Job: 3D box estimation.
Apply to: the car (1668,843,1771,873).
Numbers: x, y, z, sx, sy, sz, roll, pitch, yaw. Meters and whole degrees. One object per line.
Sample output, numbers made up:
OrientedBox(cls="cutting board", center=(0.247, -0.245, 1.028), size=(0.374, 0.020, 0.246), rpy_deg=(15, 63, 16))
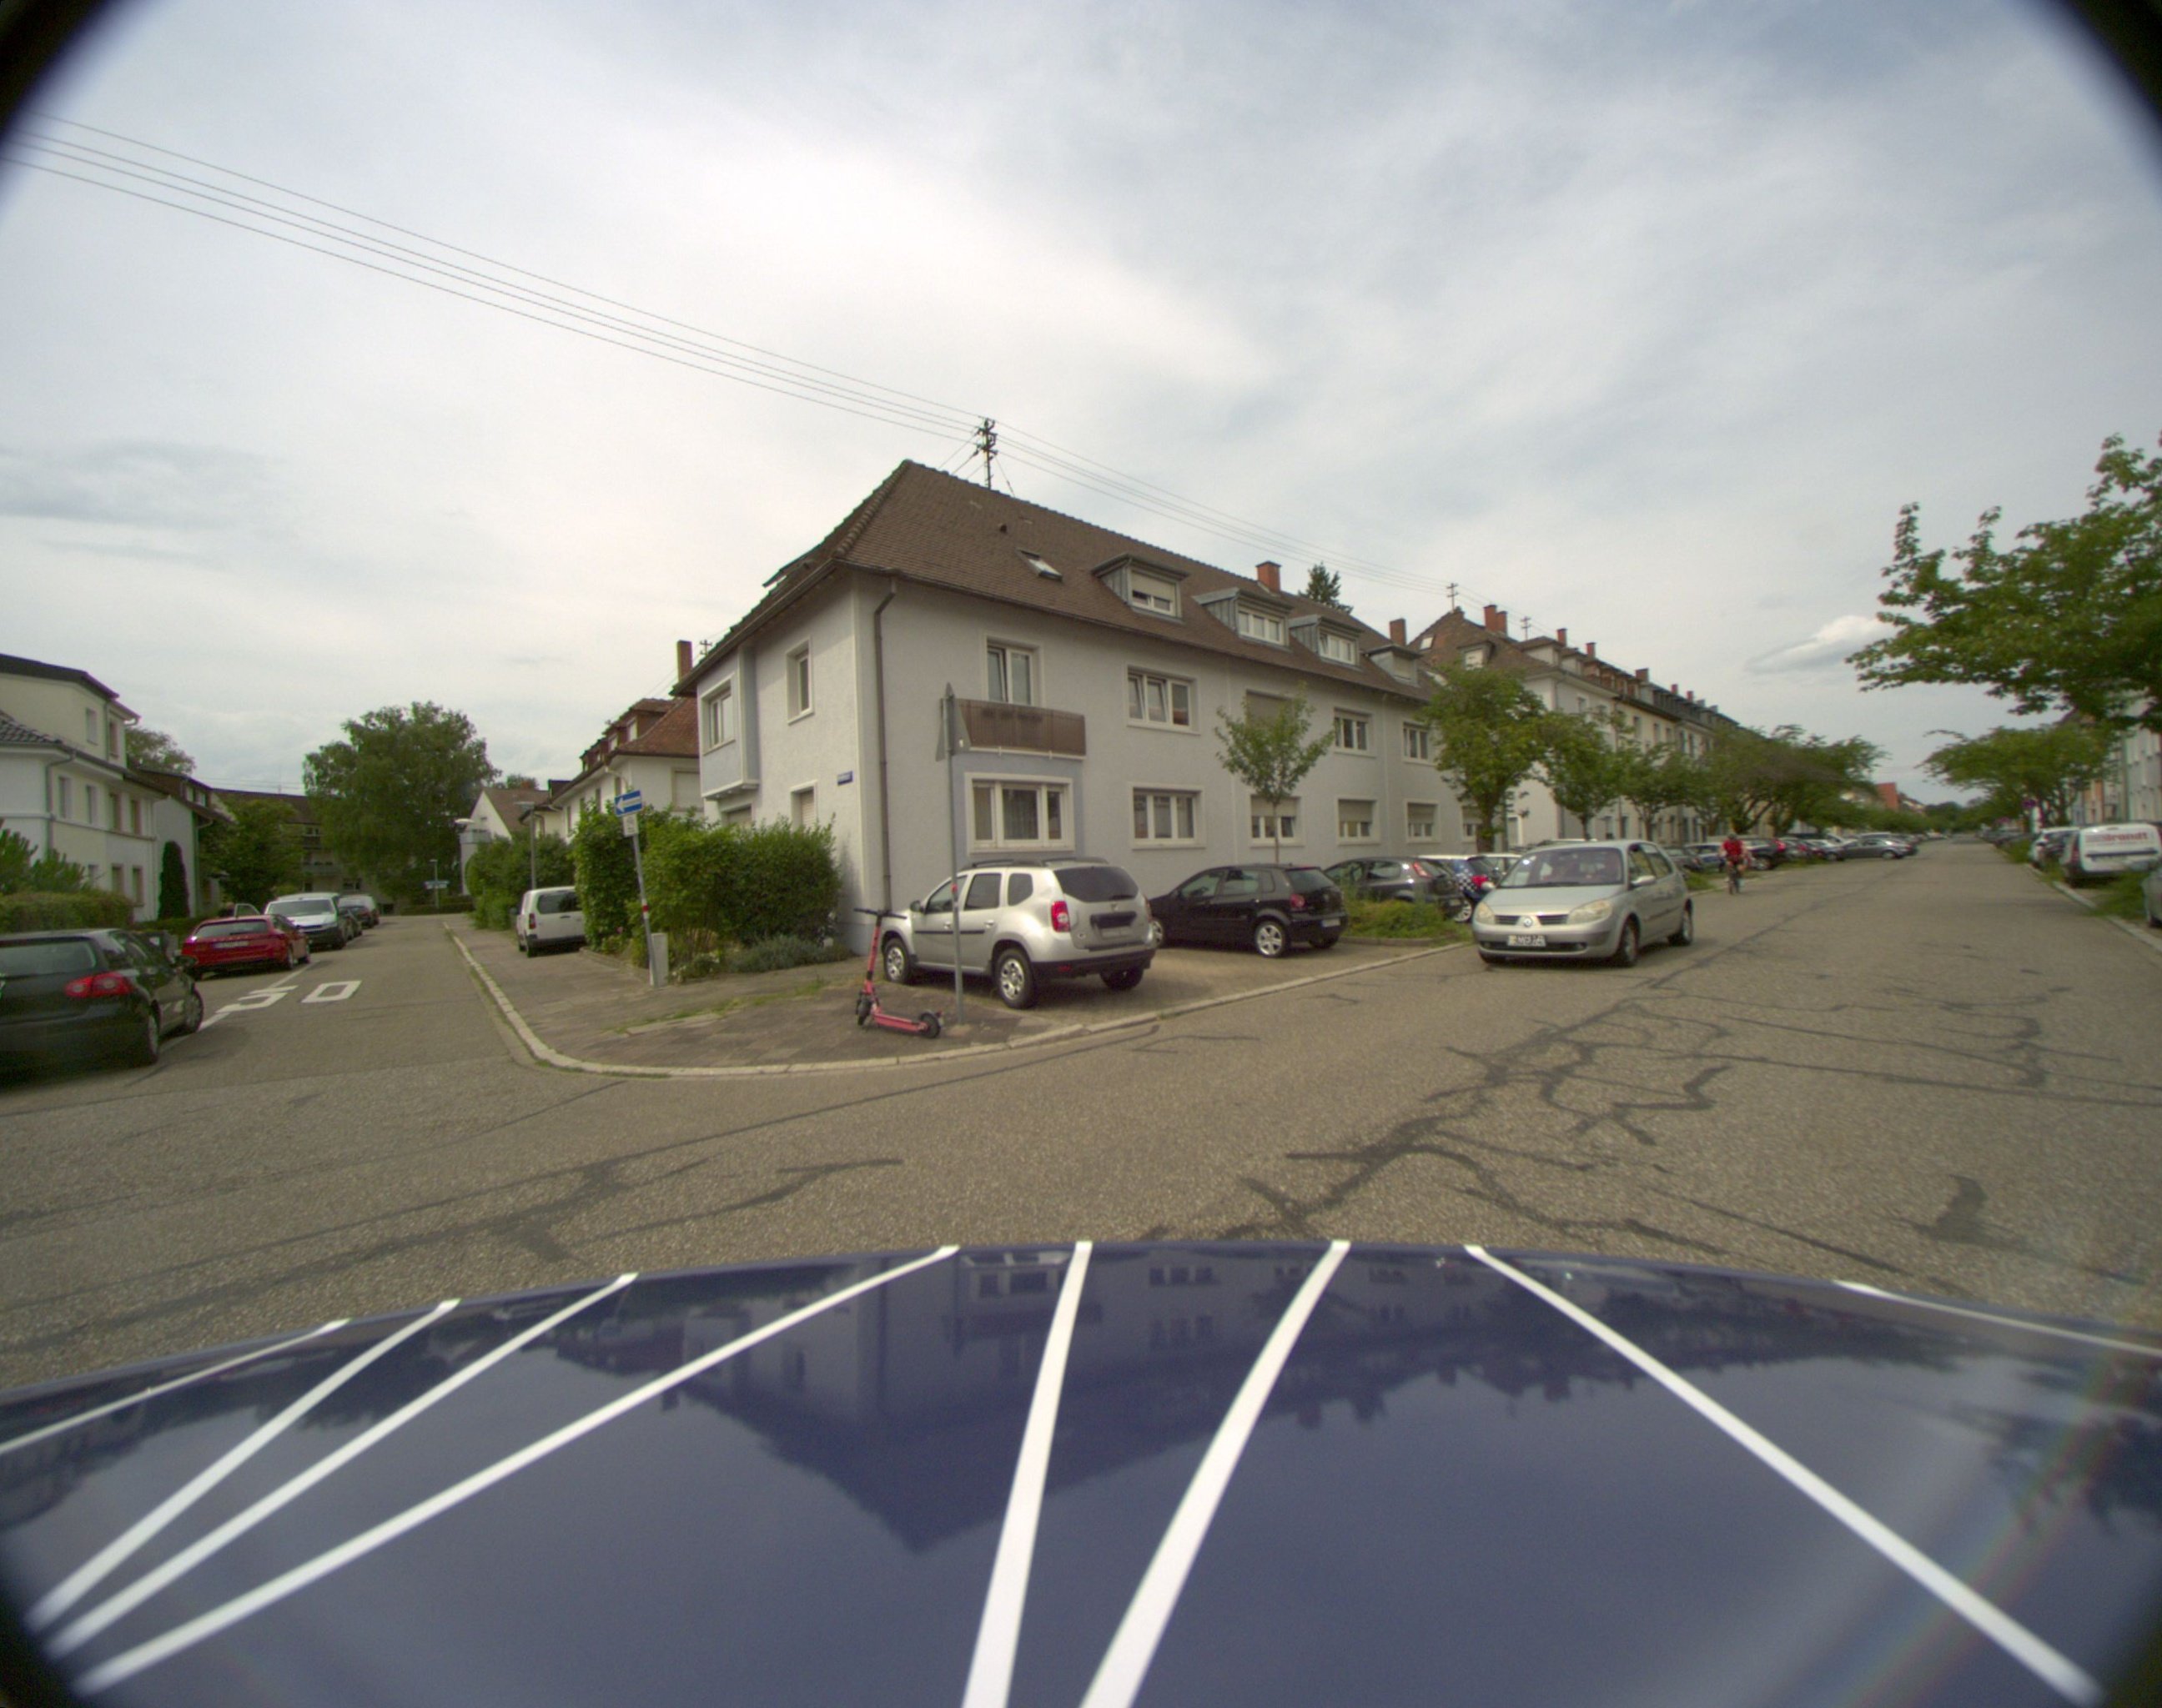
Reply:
OrientedBox(cls="car", center=(32.255, 0.176, 38.448), size=(1.868, 1.433, 3.749), rpy_deg=(-2, 1, -40))

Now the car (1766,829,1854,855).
OrientedBox(cls="car", center=(61.130, -0.993, 63.773), size=(2.077, 2.012, 5.231), rpy_deg=(-2, 2, -45))

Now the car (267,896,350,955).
OrientedBox(cls="car", center=(-27.228, 2.453, 26.892), size=(1.810, 1.784, 3.804), rpy_deg=(-2, 0, -43))

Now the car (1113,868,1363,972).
OrientedBox(cls="car", center=(2.563, 0.997, 13.151), size=(1.715, 1.413, 3.989), rpy_deg=(-2, 1, -41))

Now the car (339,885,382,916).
OrientedBox(cls="car", center=(-47.303, 3.017, 49.877), size=(1.915, 1.723, 3.757), rpy_deg=(-2, 2, -44))

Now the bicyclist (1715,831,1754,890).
OrientedBox(cls="bicyclist", center=(20.008, 0.198, 23.249), size=(0.988, 1.759, 0.692), rpy_deg=(-2, -1, -41))

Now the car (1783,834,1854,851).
OrientedBox(cls="car", center=(67.467, -1.043, 69.559), size=(1.854, 1.501, 4.549), rpy_deg=(-2, 1, -43))

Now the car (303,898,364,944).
OrientedBox(cls="car", center=(-33.226, 2.918, 33.869), size=(1.759, 1.815, 4.284), rpy_deg=(-2, 0, -43))

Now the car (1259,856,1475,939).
OrientedBox(cls="car", center=(5.979, 0.809, 16.233), size=(1.715, 1.499, 3.989), rpy_deg=(-2, 1, -41))

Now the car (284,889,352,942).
OrientedBox(cls="car", center=(-30.147, 2.363, 30.100), size=(1.667, 1.892, 3.804), rpy_deg=(-2, 0, -43))

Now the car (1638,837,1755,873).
OrientedBox(cls="car", center=(28.091, 0.052, 34.756), size=(1.771, 1.521, 3.988), rpy_deg=(-2, 1, -44))

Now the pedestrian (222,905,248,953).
OrientedBox(cls="pedestrian", center=(-31.143, 2.763, 27.967), size=(0.613, 1.708, 0.561), rpy_deg=(-3, 0, 38))

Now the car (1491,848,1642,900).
OrientedBox(cls="car", center=(14.918, 0.580, 23.464), size=(1.776, 1.446, 3.626), rpy_deg=(-2, 1, -45))

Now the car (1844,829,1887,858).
OrientedBox(cls="car", center=(57.610, -0.807, 55.788), size=(4.713, 1.903, 1.995), rpy_deg=(-2, -2, -43))

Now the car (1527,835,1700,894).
OrientedBox(cls="car", center=(18.099, 0.316, 26.030), size=(1.796, 1.847, 4.527), rpy_deg=(-2, 1, -38))

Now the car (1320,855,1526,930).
OrientedBox(cls="car", center=(7.772, 0.789, 17.548), size=(1.715, 1.499, 3.989), rpy_deg=(-2, 1, -41))

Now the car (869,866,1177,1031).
OrientedBox(cls="car", center=(-0.909, 1.024, 9.591), size=(1.872, 1.623, 3.926), rpy_deg=(1, -3, -41))

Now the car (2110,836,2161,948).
OrientedBox(cls="car", center=(16.109, 0.402, 10.531), size=(4.283, 1.383, 1.774), rpy_deg=(-2, -6, -40))

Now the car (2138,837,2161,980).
OrientedBox(cls="car", center=(11.460, 0.594, 6.827), size=(4.521, 1.477, 1.878), rpy_deg=(-2, 1, -41))

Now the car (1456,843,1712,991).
OrientedBox(cls="car", center=(7.314, 0.715, 10.808), size=(4.845, 1.595, 1.785), rpy_deg=(-2, -1, -41))

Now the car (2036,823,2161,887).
OrientedBox(cls="car", center=(27.646, -0.030, 20.664), size=(4.390, 1.572, 1.919), rpy_deg=(-2, 1, -40))

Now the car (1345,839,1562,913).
OrientedBox(cls="car", center=(9.408, 0.487, 19.519), size=(1.896, 1.654, 4.617), rpy_deg=(-2, 1, -40))

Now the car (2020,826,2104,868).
OrientedBox(cls="car", center=(38.875, -0.296, 30.193), size=(4.264, 1.547, 1.758), rpy_deg=(-2, 0, -41))

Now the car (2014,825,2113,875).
OrientedBox(cls="car", center=(33.604, -0.173, 26.099), size=(4.821, 1.483, 1.792), rpy_deg=(-3, -1, -41))

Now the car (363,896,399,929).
OrientedBox(cls="car", center=(-42.792, 3.540, 46.481), size=(1.548, 1.652, 3.629), rpy_deg=(-2, 1, -42))

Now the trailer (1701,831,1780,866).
OrientedBox(cls="trailer", center=(35.616, -0.286, 41.075), size=(1.403, 1.821, 2.962), rpy_deg=(-2, 1, -37))

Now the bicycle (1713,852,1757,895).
OrientedBox(cls="bicycle", center=(20.041, 0.581, 23.261), size=(1.940, 1.220, 0.692), rpy_deg=(-2, -1, -41))

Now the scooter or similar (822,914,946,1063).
OrientedBox(cls="scooter or similar", center=(-1.888, 1.226, 7.221), size=(1.239, 1.236, 0.423), rpy_deg=(0, 2, 37))

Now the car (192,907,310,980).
OrientedBox(cls="car", center=(-21.051, 2.196, 19.414), size=(1.667, 1.508, 3.804), rpy_deg=(-2, 0, -43))

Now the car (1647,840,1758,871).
OrientedBox(cls="car", center=(30.080, 0.056, 36.846), size=(1.771, 1.402, 3.988), rpy_deg=(-2, 1, -44))

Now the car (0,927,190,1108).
OrientedBox(cls="car", center=(-11.060, 1.629, 8.145), size=(3.804, 1.435, 1.667), rpy_deg=(-3, 0, 44))

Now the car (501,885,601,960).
OrientedBox(cls="car", center=(-14.897, 1.827, 21.286), size=(1.708, 1.795, 3.804), rpy_deg=(-4, 1, -43))
